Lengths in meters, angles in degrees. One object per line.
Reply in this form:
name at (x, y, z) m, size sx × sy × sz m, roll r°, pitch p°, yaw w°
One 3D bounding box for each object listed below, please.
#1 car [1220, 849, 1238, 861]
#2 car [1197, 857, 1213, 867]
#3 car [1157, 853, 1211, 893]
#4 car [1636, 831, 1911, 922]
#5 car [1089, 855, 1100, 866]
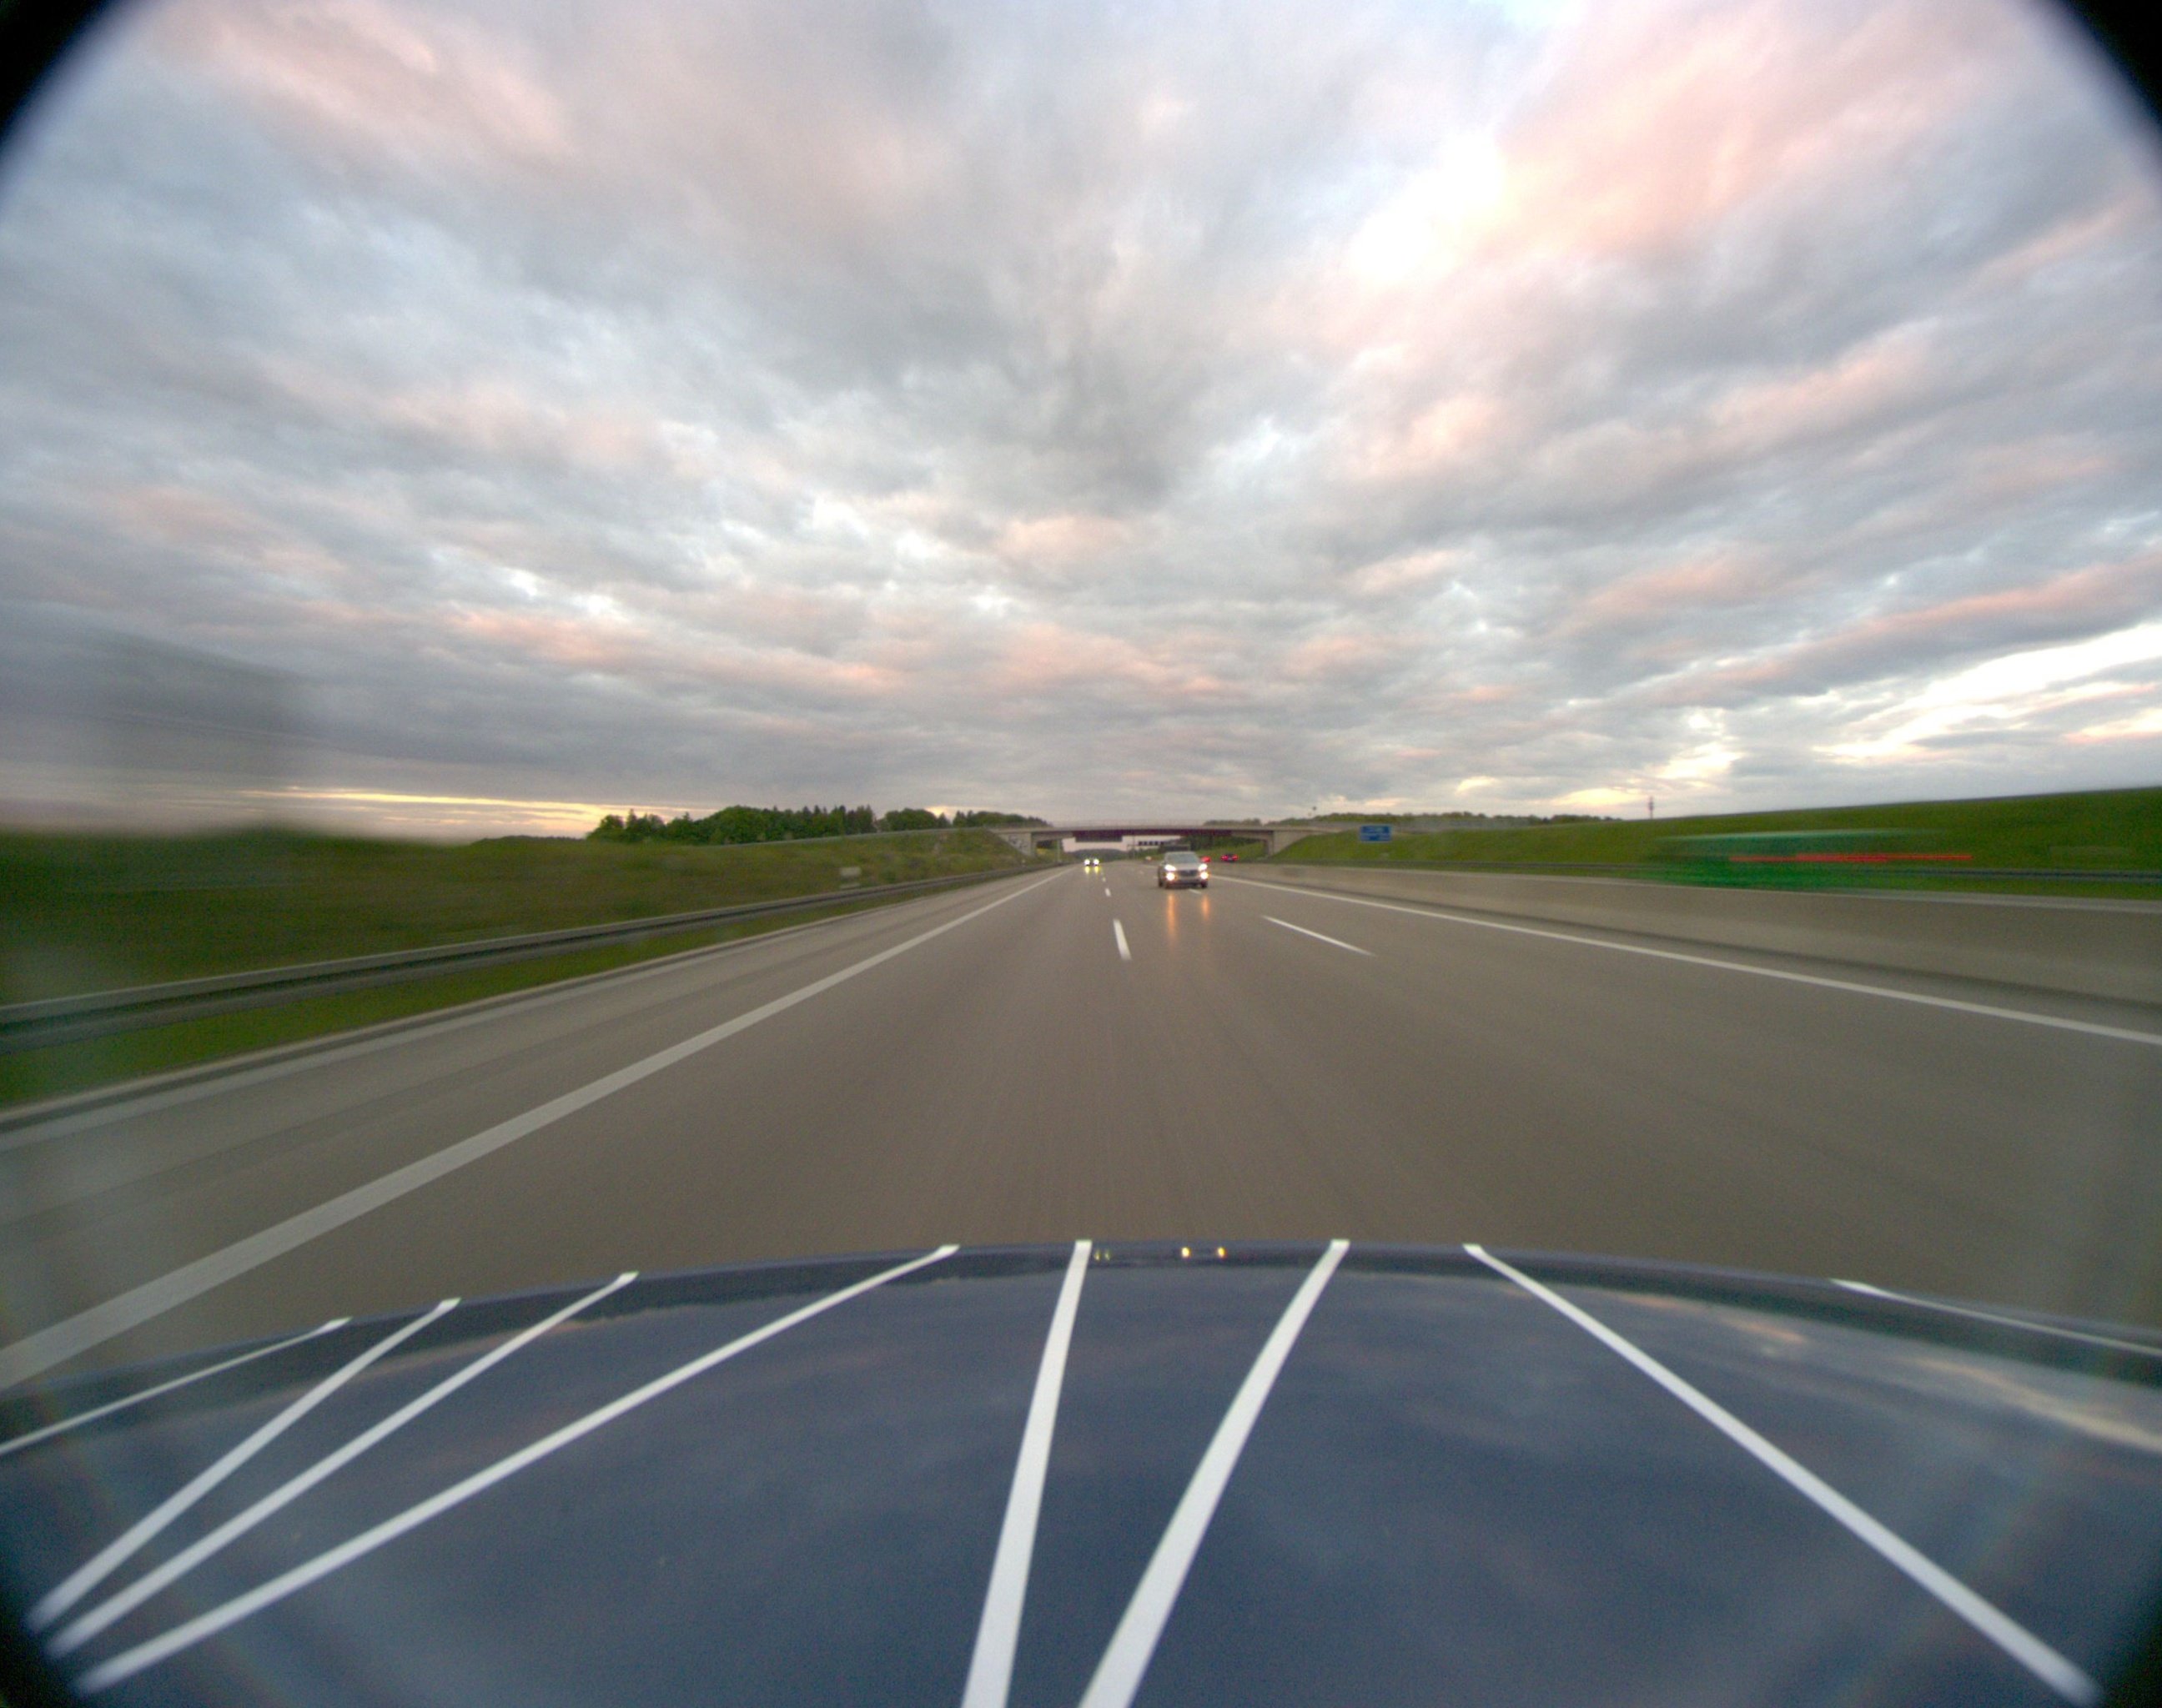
car at (23.747, 0.181, 122.206) m, size 1.998 × 1.925 × 5.090 m, roll -2°, pitch 0°, yaw 1°
car at (17.492, 1.091, 107.396) m, size 1.815 × 1.427 × 4.672 m, roll -1°, pitch 0°, yaw 4°
car at (4.698, 0.803, 35.441) m, size 1.857 × 1.683 × 5.512 m, roll -1°, pitch 0°, yaw 1°
car at (17.512, 0.515, 19.784) m, size 2.008 × 2.002 × 5.737 m, roll -1°, pitch 0°, yaw 1°
car at (2.239, 1.007, 124.496) m, size 1.801 × 1.674 × 4.385 m, roll -1°, pitch 1°, yaw 1°
